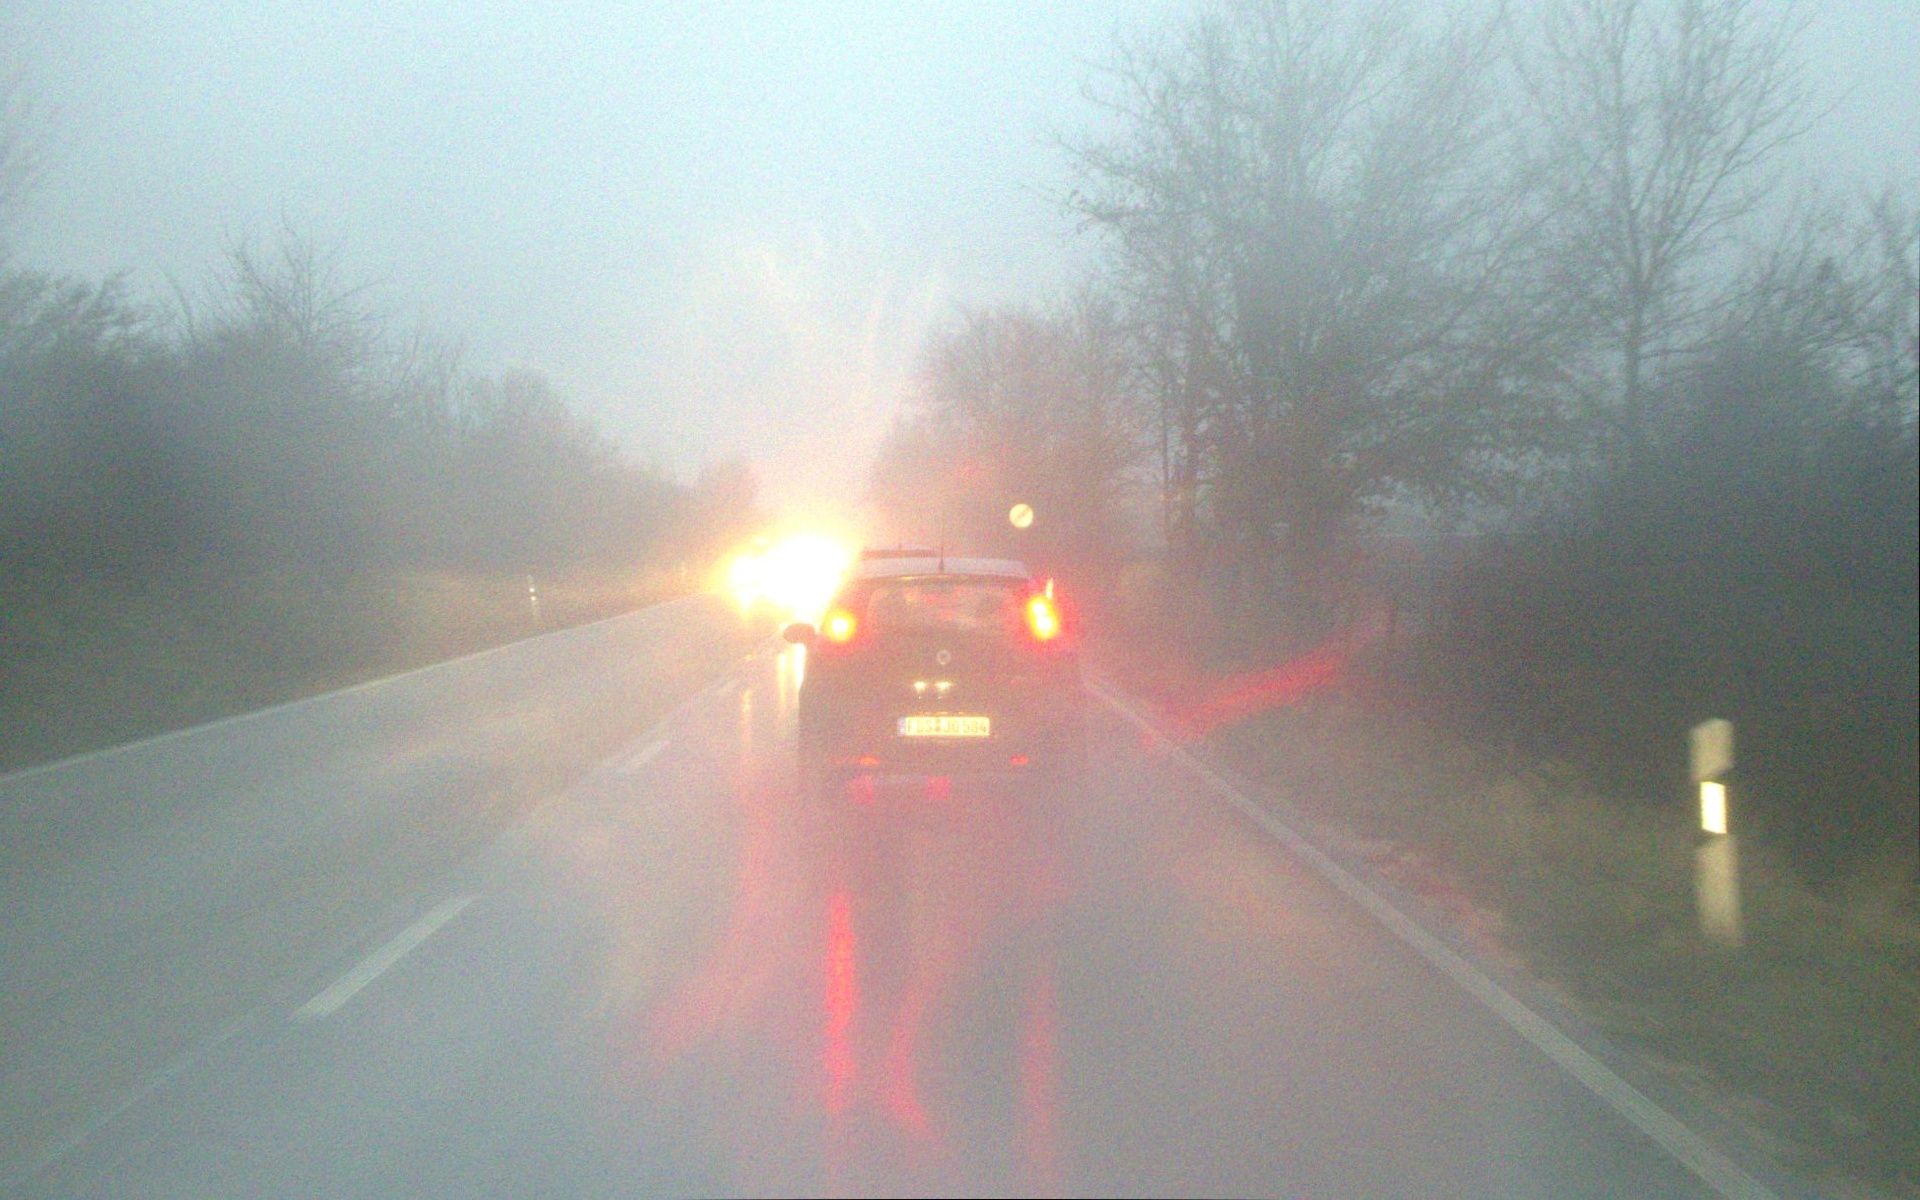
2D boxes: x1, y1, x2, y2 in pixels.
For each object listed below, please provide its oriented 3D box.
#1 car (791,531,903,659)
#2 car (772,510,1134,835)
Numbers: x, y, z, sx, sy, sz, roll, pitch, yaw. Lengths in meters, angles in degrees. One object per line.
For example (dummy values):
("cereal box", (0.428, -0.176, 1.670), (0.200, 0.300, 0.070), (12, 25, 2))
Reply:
("car", (-1.692, -0.094, 52.357), (1.574, 1.868, 3.709), (1, 1, 0))
("car", (-0.052, 0.381, 21.157), (1.993, 1.778, 4.000), (1, 1, 0))
